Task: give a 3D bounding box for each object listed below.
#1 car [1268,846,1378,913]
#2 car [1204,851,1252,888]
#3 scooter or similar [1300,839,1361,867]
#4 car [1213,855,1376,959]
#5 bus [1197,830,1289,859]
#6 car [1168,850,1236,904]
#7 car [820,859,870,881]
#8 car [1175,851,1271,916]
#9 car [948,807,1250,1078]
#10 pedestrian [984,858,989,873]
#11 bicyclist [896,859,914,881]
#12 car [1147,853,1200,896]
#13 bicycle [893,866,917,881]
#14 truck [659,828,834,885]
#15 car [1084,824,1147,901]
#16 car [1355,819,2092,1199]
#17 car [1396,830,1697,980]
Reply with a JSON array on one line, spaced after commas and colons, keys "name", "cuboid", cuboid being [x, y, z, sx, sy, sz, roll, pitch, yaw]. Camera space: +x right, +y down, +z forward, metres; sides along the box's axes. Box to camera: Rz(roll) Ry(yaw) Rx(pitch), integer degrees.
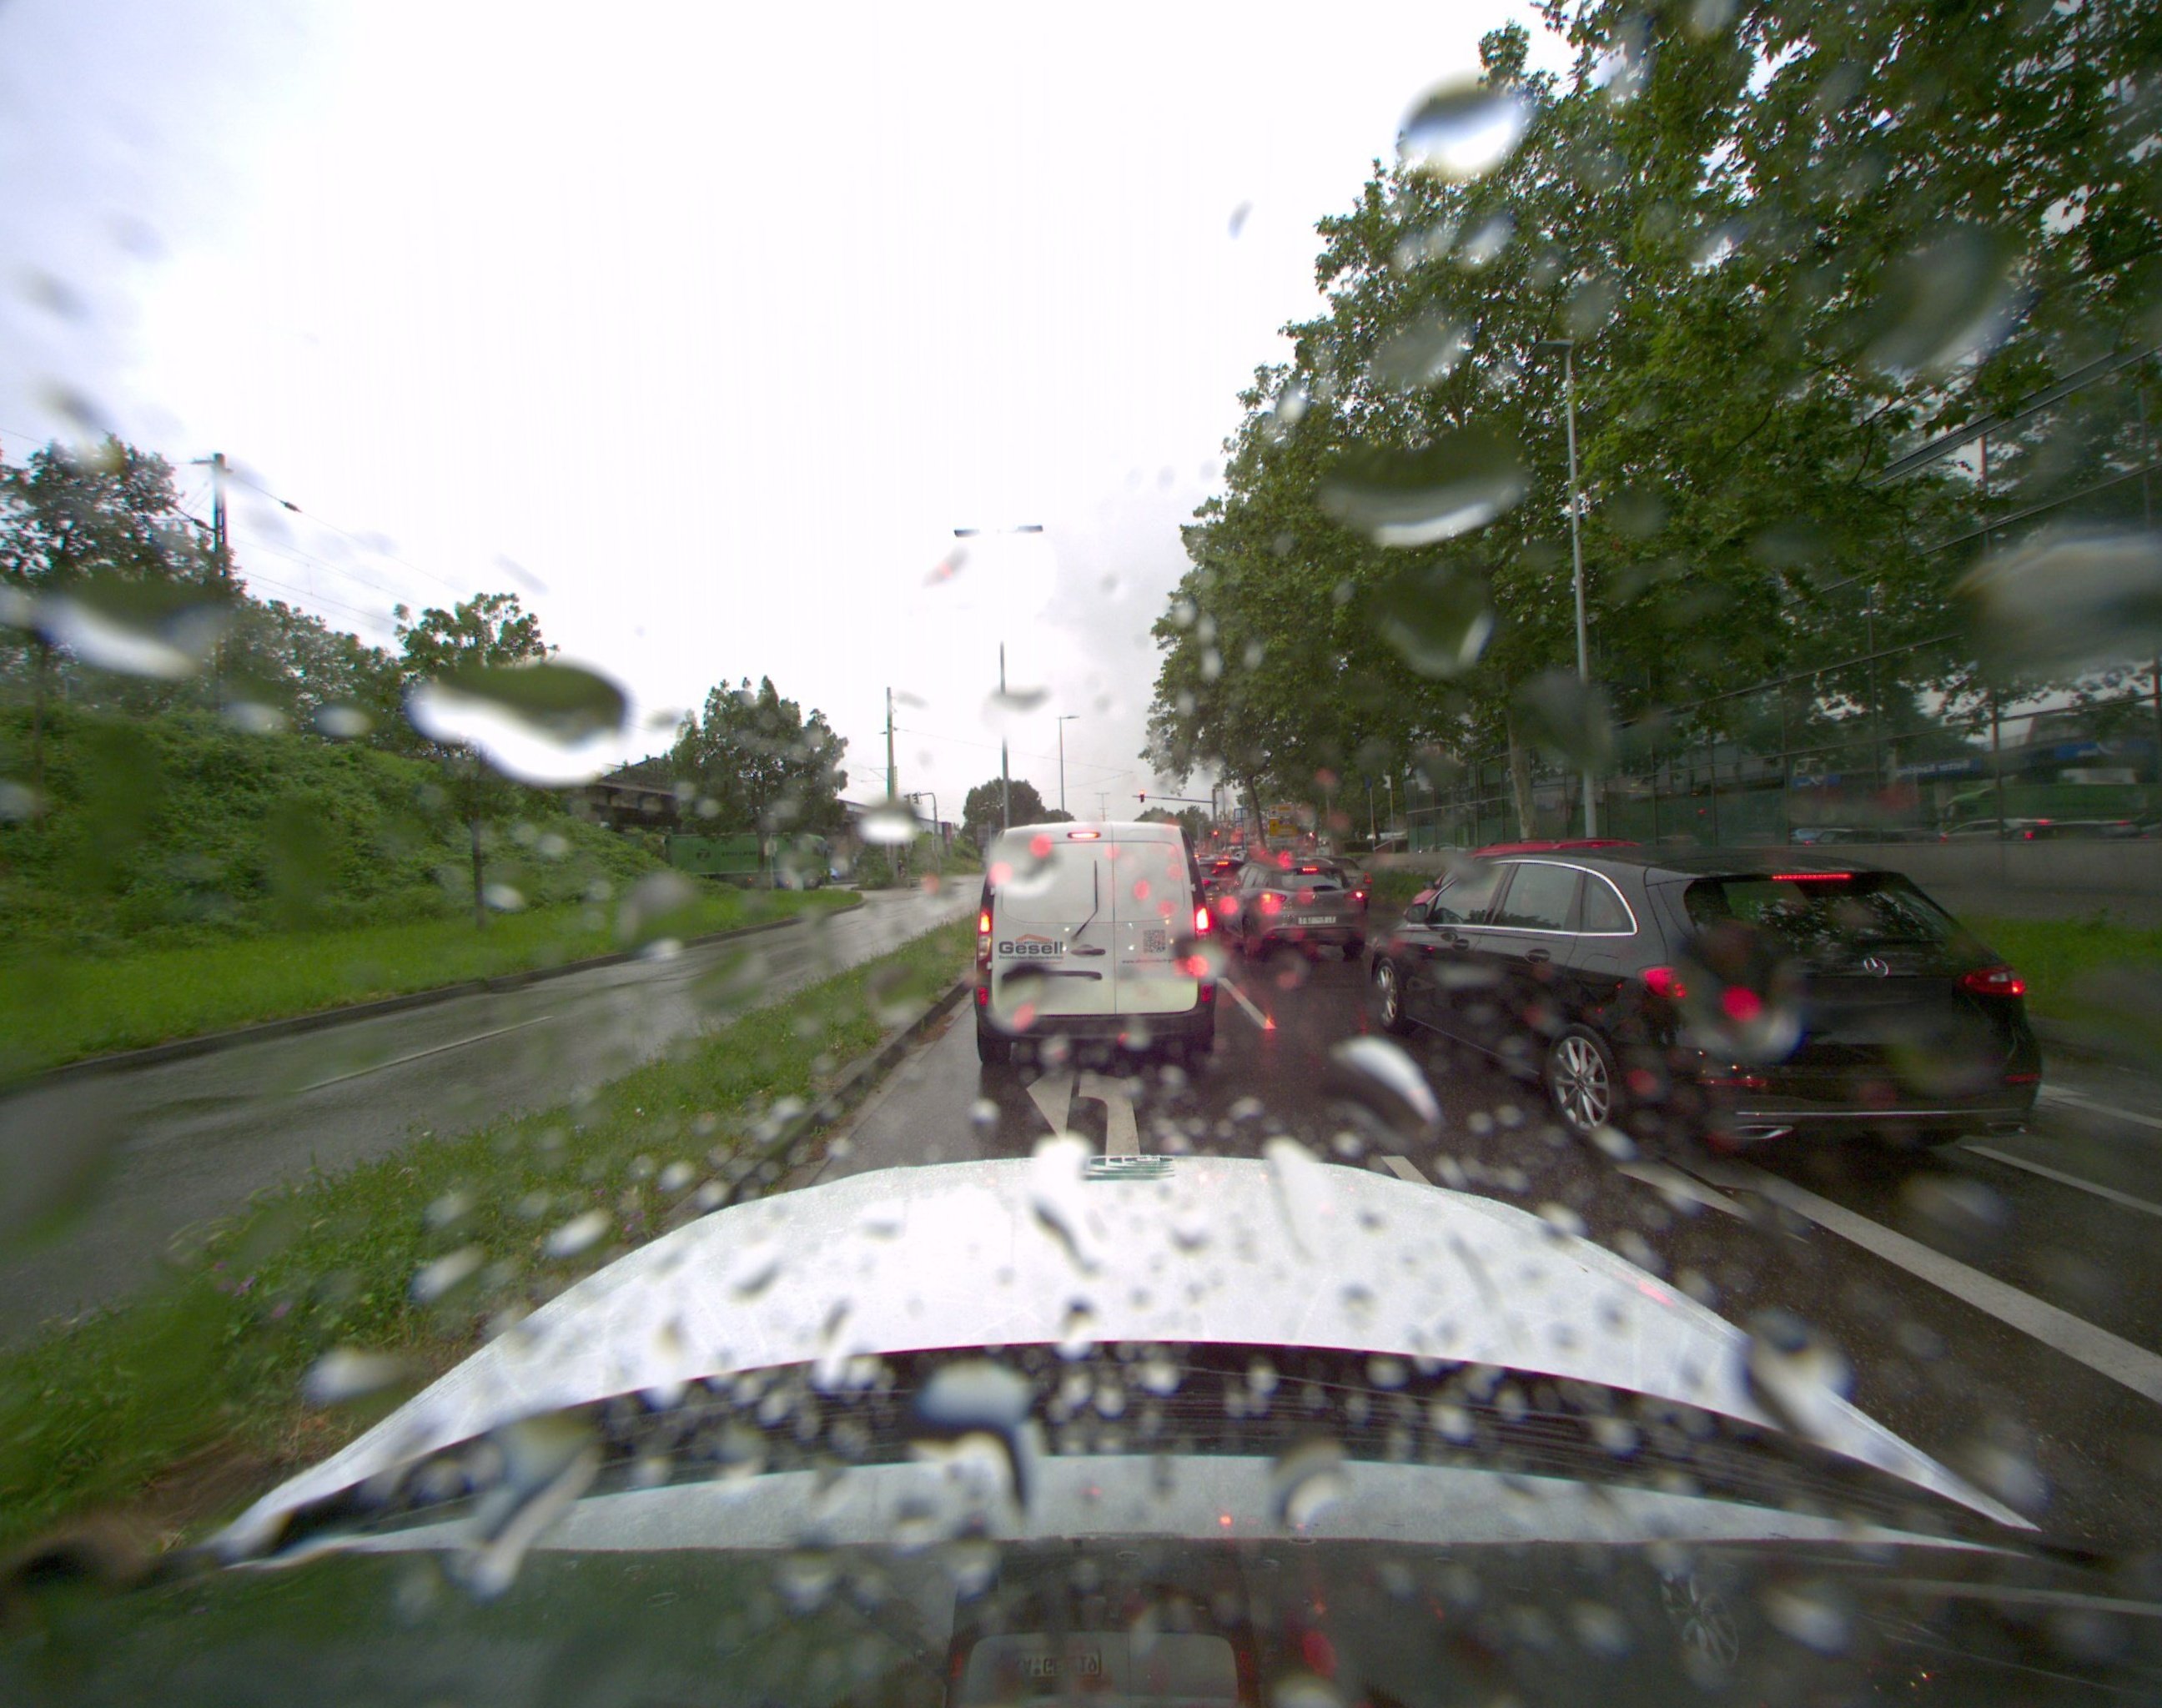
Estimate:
[{"name": "car", "cuboid": [6.370, 0.605, 21.868, 1.869, 1.613, 4.002, 0, 0, 2]}, {"name": "car", "cuboid": [6.904, 0.712, 38.614, 1.702, 1.650, 3.844, -1, -1, 2]}, {"name": "scooter or similar", "cuboid": [23.449, -0.077, 76.685, 1.905, 2.446, 5.257, -1, 0, -39]}, {"name": "car", "cuboid": [3.254, 0.732, 13.126, 1.677, 1.408, 3.844, 0, 0, 1]}, {"name": "bus", "cuboid": [21.893, -1.349, 110.590, 11.926, 3.423, 2.316, -2, 0, 1]}, {"name": "car", "cuboid": [4.058, 0.729, 27.901, 1.847, 1.649, 3.844, -1, 0, 2]}, {"name": "car", "cuboid": [-21.863, 1.438, 75.423, 1.975, 1.887, 4.024, 0, 1, 42]}, {"name": "car", "cuboid": [3.500, 0.675, 20.682, 1.847, 1.460, 3.844, -1, 0, 2]}, {"name": "car", "cuboid": [0.191, 0.590, 7.772, 1.986, 1.776, 4.587, -1, 0, 2]}, {"name": "pedestrian", "cuboid": [-11.237, 1.368, 96.429, 0.541, 1.716, 0.563, 0, -1, -2]}, {"name": "bicyclist", "cuboid": [-12.120, 1.087, 55.980, 1.045, 1.450, 0.723, -2, 0, -23]}, {"name": "car", "cuboid": [3.753, 0.815, 33.575, 1.847, 1.650, 3.844, -1, -1, 2]}, {"name": "bicycle", "cuboid": [-12.128, 1.334, 56.024, 1.045, 0.952, 2.866, -2, 0, -22]}, {"name": "truck", "cuboid": [-21.293, 0.075, 52.346, 10.105, 3.371, 2.322, -2, 0, -35]}, {"name": "car", "cuboid": [1.103, 0.247, 26.474, 1.847, 2.296, 3.844, -1, 0, 2]}, {"name": "car", "cuboid": [3.374, 0.648, 5.450, 1.741, 1.554, 4.091, -1, 0, 1]}, {"name": "car", "cuboid": [6.145, 0.608, 11.435, 1.706, 1.694, 4.269, 0, -1, -1]}]
